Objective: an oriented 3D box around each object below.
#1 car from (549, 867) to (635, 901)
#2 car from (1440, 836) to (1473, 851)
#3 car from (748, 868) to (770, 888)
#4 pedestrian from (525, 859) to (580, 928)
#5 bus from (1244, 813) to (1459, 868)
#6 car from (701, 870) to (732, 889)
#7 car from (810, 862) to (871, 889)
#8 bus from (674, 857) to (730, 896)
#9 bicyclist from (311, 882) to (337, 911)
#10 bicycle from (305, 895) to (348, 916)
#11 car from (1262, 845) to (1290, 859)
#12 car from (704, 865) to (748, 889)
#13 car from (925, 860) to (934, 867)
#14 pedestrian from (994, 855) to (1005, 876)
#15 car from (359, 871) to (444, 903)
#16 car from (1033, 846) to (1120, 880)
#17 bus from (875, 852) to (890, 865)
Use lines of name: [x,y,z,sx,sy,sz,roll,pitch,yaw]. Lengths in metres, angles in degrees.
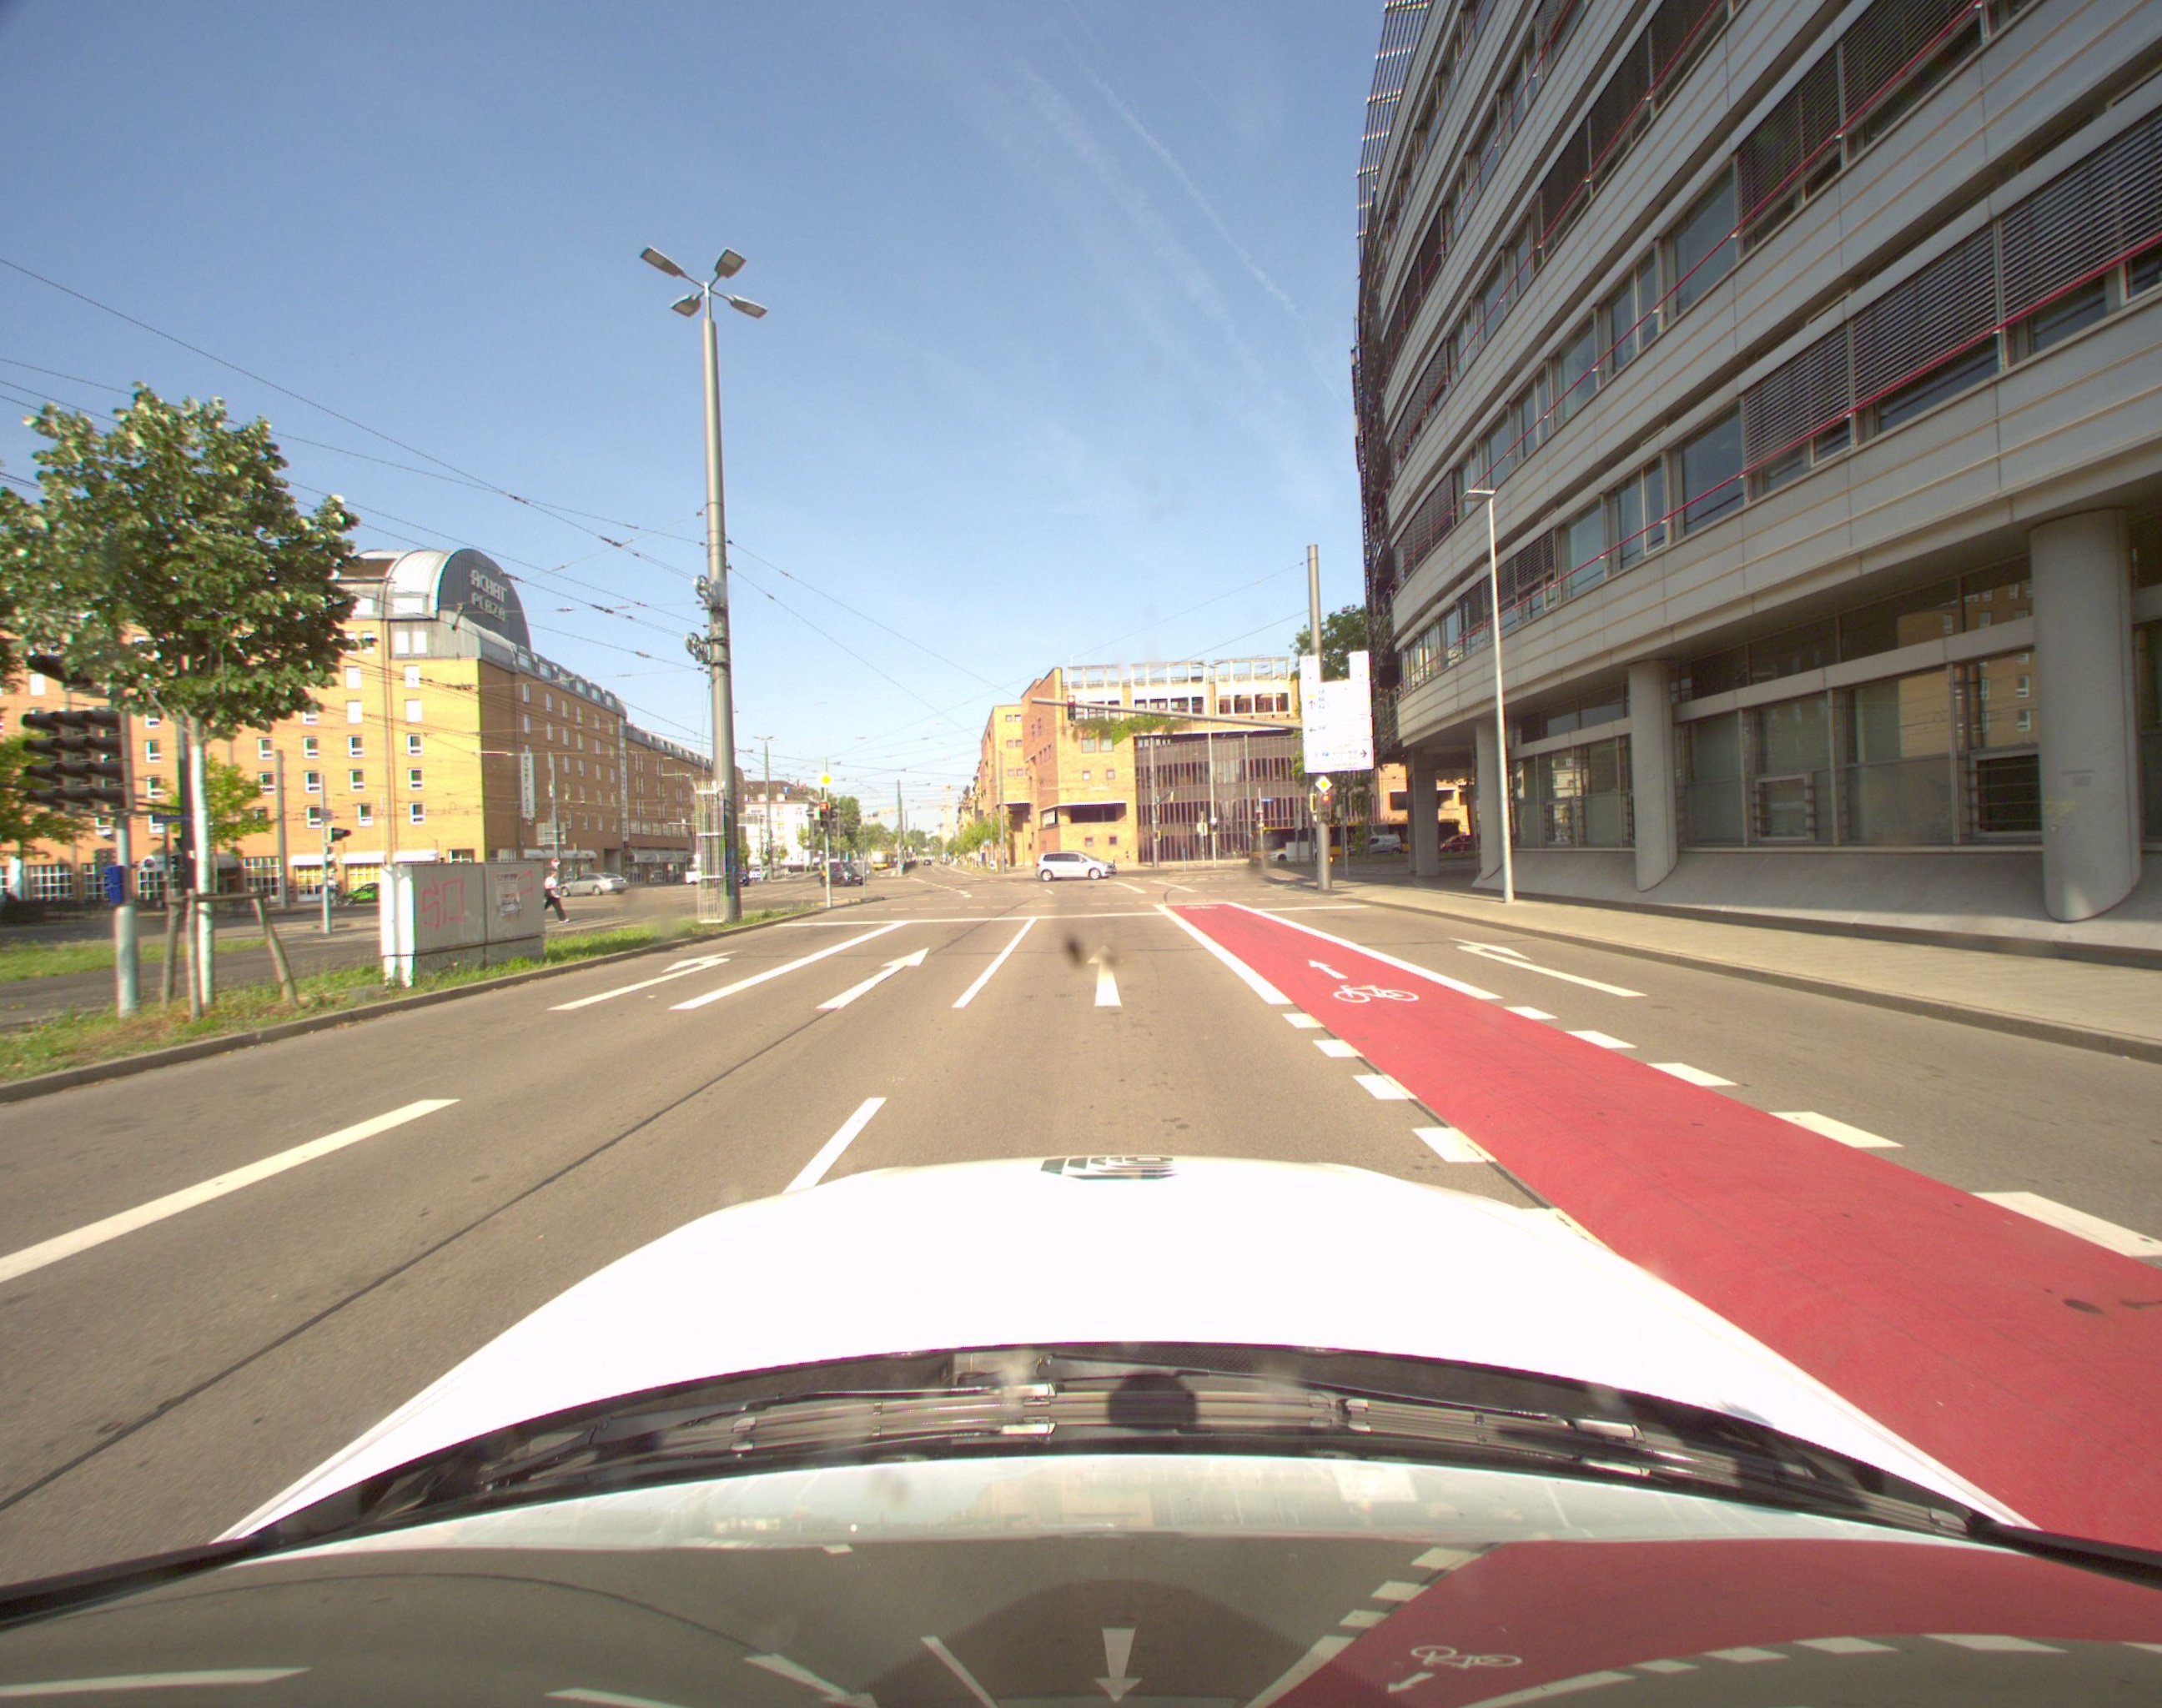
car: [-31.581,1.926,52.625,4.568,2.013,2.008,-2,0,14]
car: [29.844,-0.819,64.740,2.233,1.111,0.722,-2,-2,-3]
car: [-34.295,2.528,86.853,1.602,2.014,2.720,-2,-2,-10]
pedestrian: [-16.162,1.193,24.943,1.155,2.014,0.774,-2,-2,-9]
bus: [22.626,-1.150,68.086,17.605,3.810,2.856,-2,-2,-9]
car: [-31.198,2.192,69.756,2.000,1.487,4.192,-2,-2,-19]
car: [-15.281,1.372,51.628,3.556,1.492,1.713,-3,1,33]
bus: [-41.717,2.518,90.188,2.748,3.921,12.166,-2,-1,-11]
bicyclist: [-46.924,2.618,50.479,0.662,1.747,0.967,-2,-2,0]
bicycle: [-46.908,3.170,50.644,0.546,1.206,2.286,-2,-1,0]
car: [15.007,-0.156,62.689,1.945,0.958,1.093,0,-2,-1]
car: [-26.304,1.709,60.233,2.002,1.636,4.363,-1,-2,-37]
car: [-37.224,2.232,199.684,2.075,1.542,4.396,-2,-1,-11]
pedestrian: [-8.146,1.134,81.356,0.834,2.013,0.814,-2,0,15]
car: [-46.889,2.255,56.265,3.985,2.014,1.994,-2,-2,-9]
car: [-0.247,0.492,44.539,4.342,1.634,1.698,-2,1,18]
bus: [-30.858,0.706,126.414,1.995,2.013,3.984,-2,0,-11]
